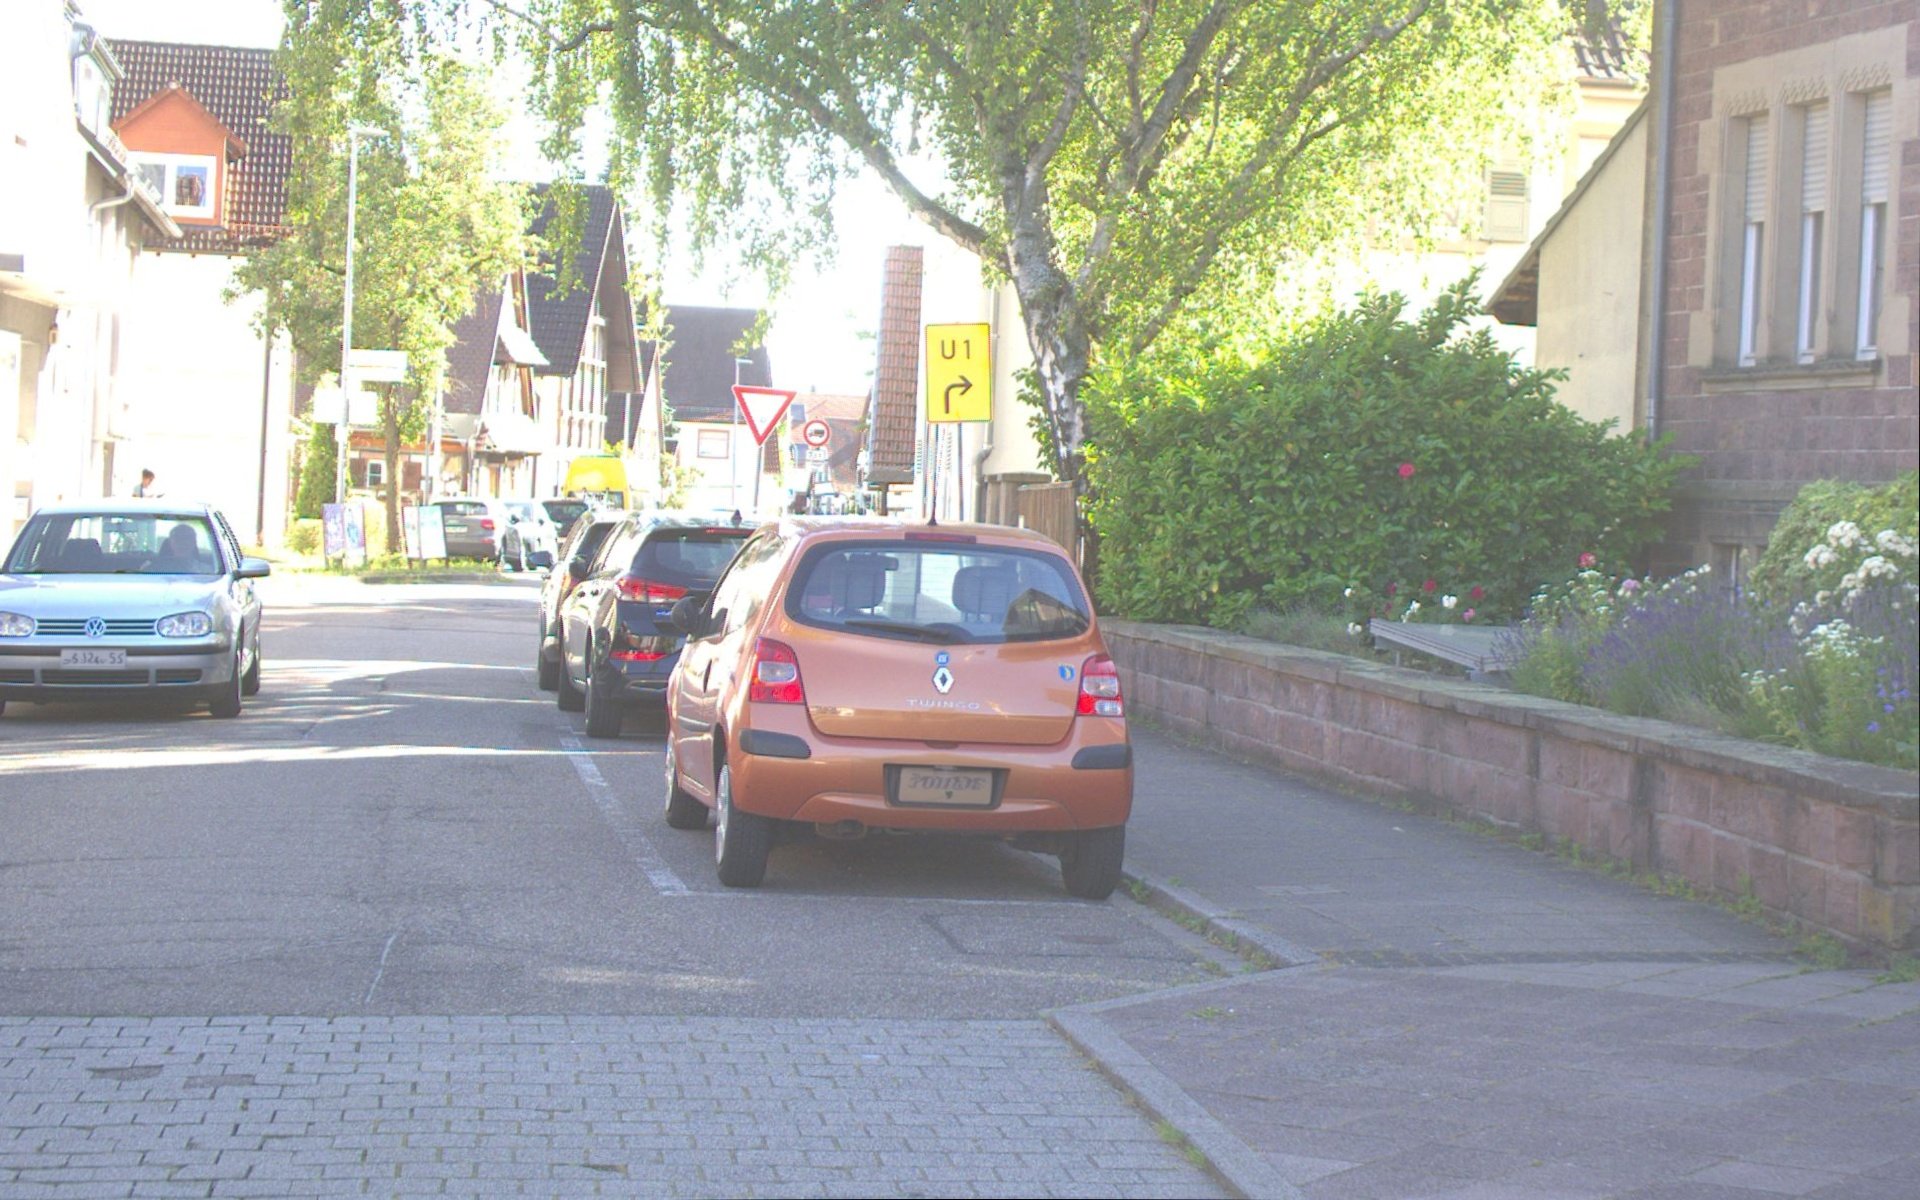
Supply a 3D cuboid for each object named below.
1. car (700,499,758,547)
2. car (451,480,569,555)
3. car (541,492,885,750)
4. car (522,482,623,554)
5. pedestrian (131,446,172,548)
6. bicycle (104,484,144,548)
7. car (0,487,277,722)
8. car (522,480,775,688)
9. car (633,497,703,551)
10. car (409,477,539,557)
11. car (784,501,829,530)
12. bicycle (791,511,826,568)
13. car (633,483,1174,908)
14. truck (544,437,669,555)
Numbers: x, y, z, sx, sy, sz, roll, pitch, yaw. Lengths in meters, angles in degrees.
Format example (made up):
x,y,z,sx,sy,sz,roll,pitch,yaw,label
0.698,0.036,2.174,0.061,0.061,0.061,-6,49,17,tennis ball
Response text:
x,y,z,sx,sy,sz,roll,pitch,yaw,label
-7.488,-2.508,111.544,1.588,1.438,3.615,3,1,-1,car
-9.752,-1.770,74.780,1.806,1.500,4.107,3,1,2,car
-1.762,0.070,23.148,1.807,1.431,4.287,3,2,-10,car
-9.403,-1.970,83.706,1.806,1.616,3.880,3,1,2,car
-13.666,-1.740,58.121,0.483,1.687,0.557,3,-1,-3,pedestrian
-14.082,-1.409,57.922,0.423,1.048,1.381,3,0,-6,bicycle
-5.613,-0.031,23.318,1.670,1.397,3.893,2,2,-8,car
-2.554,-0.193,27.809,1.807,1.431,4.287,3,2,-6,car
-8.334,-2.185,98.282,1.645,1.428,3.615,3,1,-1,car
-9.914,-1.675,70.391,1.867,1.500,4.107,3,1,2,car
-9.129,-5.028,204.292,1.972,1.577,3.996,3,1,-12,car
-3.173,-1.270,72.160,0.433,1.172,1.828,3,1,5,bicycle
-0.385,0.301,14.801,1.647,1.473,3.935,3,2,-10,car
-9.119,-2.649,89.177,2.268,2.858,5.782,3,1,2,truck
